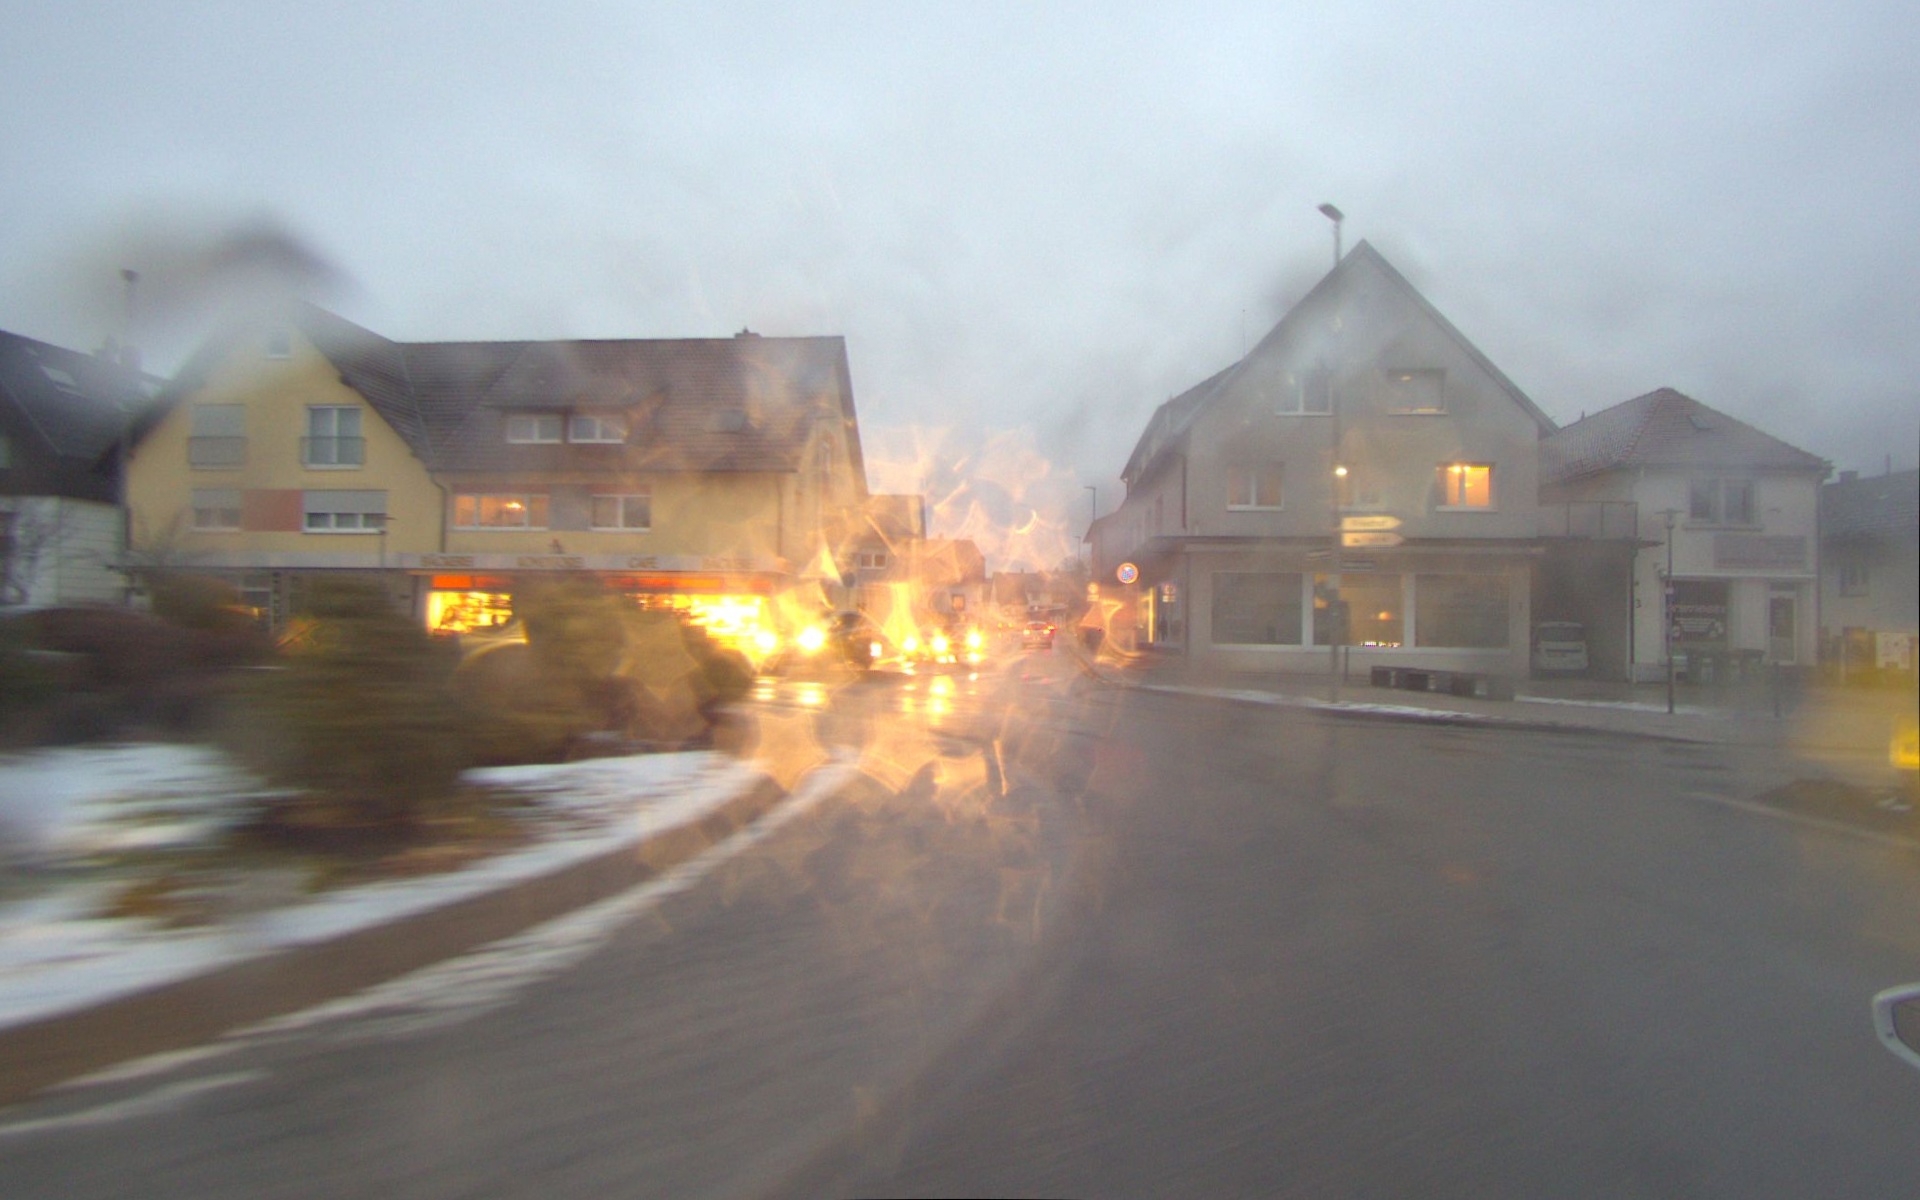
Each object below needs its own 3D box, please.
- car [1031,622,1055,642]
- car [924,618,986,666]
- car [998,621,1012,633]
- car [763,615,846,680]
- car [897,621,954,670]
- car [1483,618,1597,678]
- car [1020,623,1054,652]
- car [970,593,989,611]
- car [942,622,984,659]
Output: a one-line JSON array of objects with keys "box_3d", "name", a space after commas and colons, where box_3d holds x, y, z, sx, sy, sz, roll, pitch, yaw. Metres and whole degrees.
[{"box_3d": [6.861, 2.643, 83.557, 1.901, 1.639, 3.867, 0, -1, 3], "name": "car"}, {"box_3d": [-0.094, 1.272, 31.647, 1.735, 1.422, 3.917, 0, -1, 3], "name": "car"}, {"box_3d": [6.211, 3.691, 137.197, 1.901, 1.639, 3.867, 0, -1, 3], "name": "car"}, {"box_3d": [-4.282, 1.282, 28.316, 1.962, 1.688, 4.366, 0, -1, -4], "name": "car"}, {"box_3d": [-1.296, 1.717, 39.376, 1.960, 1.791, 4.370, 0, -1, 2], "name": "car"}, {"box_3d": [18.779, 1.509, 32.729, 1.772, 1.821, 4.003, 0, -1, 7], "name": "car"}, {"box_3d": [4.449, 2.147, 58.466, 1.901, 1.639, 3.867, 0, -1, 3], "name": "car"}, {"box_3d": [1.979, 0.221, 100.326, 1.842, 1.705, 4.001, 0, -1, 1], "name": "car"}, {"box_3d": [0.194, 2.059, 52.135, 1.960, 1.791, 4.371, 0, -1, 3], "name": "car"}]
